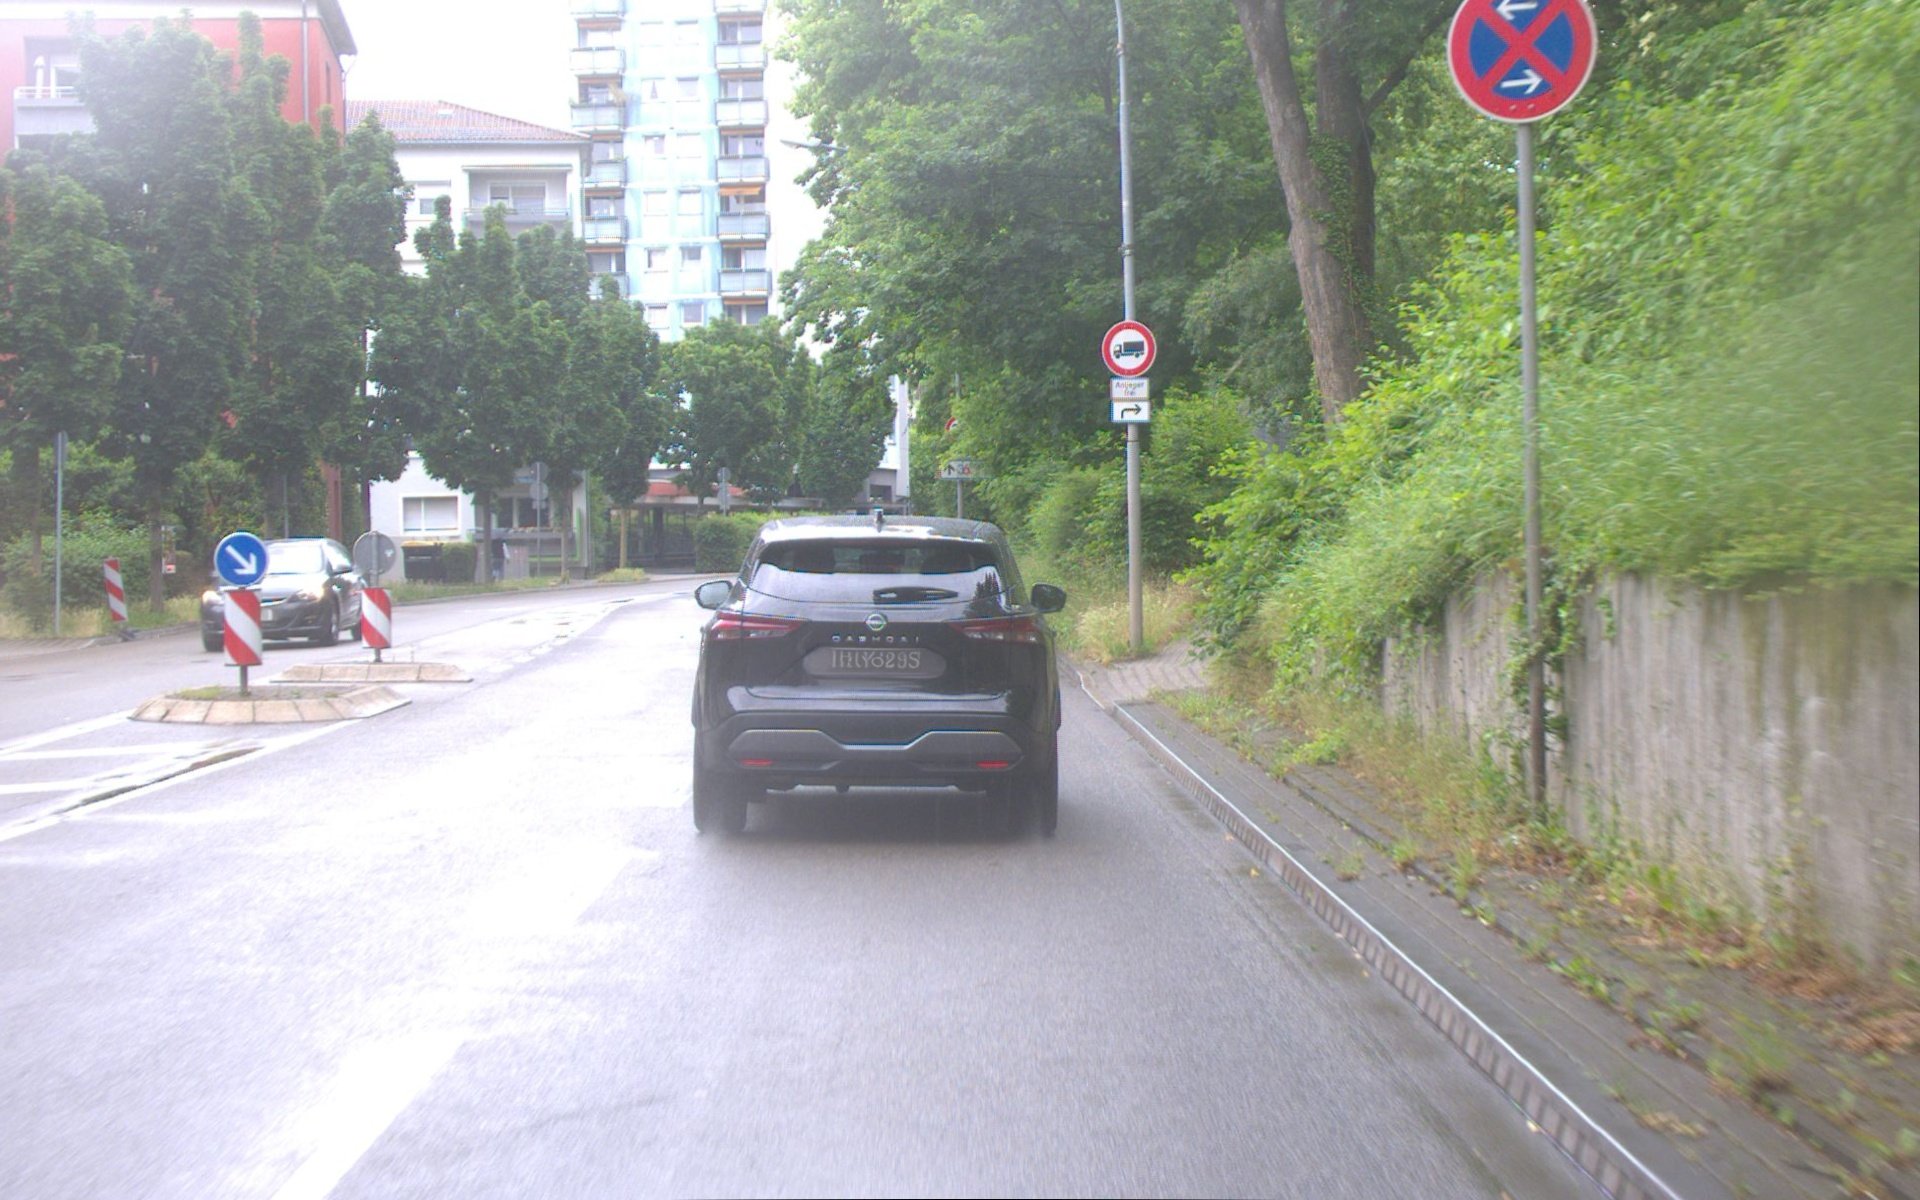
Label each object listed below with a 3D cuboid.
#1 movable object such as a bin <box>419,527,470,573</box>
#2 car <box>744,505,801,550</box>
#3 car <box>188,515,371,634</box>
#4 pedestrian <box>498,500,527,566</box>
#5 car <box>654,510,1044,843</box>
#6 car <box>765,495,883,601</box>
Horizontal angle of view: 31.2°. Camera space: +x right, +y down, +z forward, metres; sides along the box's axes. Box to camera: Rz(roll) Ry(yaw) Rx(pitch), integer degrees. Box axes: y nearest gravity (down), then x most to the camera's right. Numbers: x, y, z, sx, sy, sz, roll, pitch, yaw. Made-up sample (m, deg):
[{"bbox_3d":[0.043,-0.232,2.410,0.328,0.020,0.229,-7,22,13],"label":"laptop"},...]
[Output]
[{"bbox_3d":[-15.596,-1.528,104.010,1.321,1.357,1.258,-1,1,0],"label":"movable object such as a bin"},{"bbox_3d":[-7.967,-3.087,146.187,1.799,1.835,3.999,-1,1,6],"label":"car"},{"bbox_3d":[-9.347,-0.383,47.560,1.787,1.499,4.649,-2,1,-3],"label":"car"},{"bbox_3d":[-13.638,-2.040,104.884,0.716,2.007,0.950,-1,1,0],"label":"pedestrian"},{"bbox_3d":[-0.613,0.322,18.341,1.844,1.577,4.001,0,1,-3],"label":"car"},{"bbox_3d":[-2.260,-0.873,57.447,1.887,1.705,4.000,0,1,-2],"label":"car"}]
